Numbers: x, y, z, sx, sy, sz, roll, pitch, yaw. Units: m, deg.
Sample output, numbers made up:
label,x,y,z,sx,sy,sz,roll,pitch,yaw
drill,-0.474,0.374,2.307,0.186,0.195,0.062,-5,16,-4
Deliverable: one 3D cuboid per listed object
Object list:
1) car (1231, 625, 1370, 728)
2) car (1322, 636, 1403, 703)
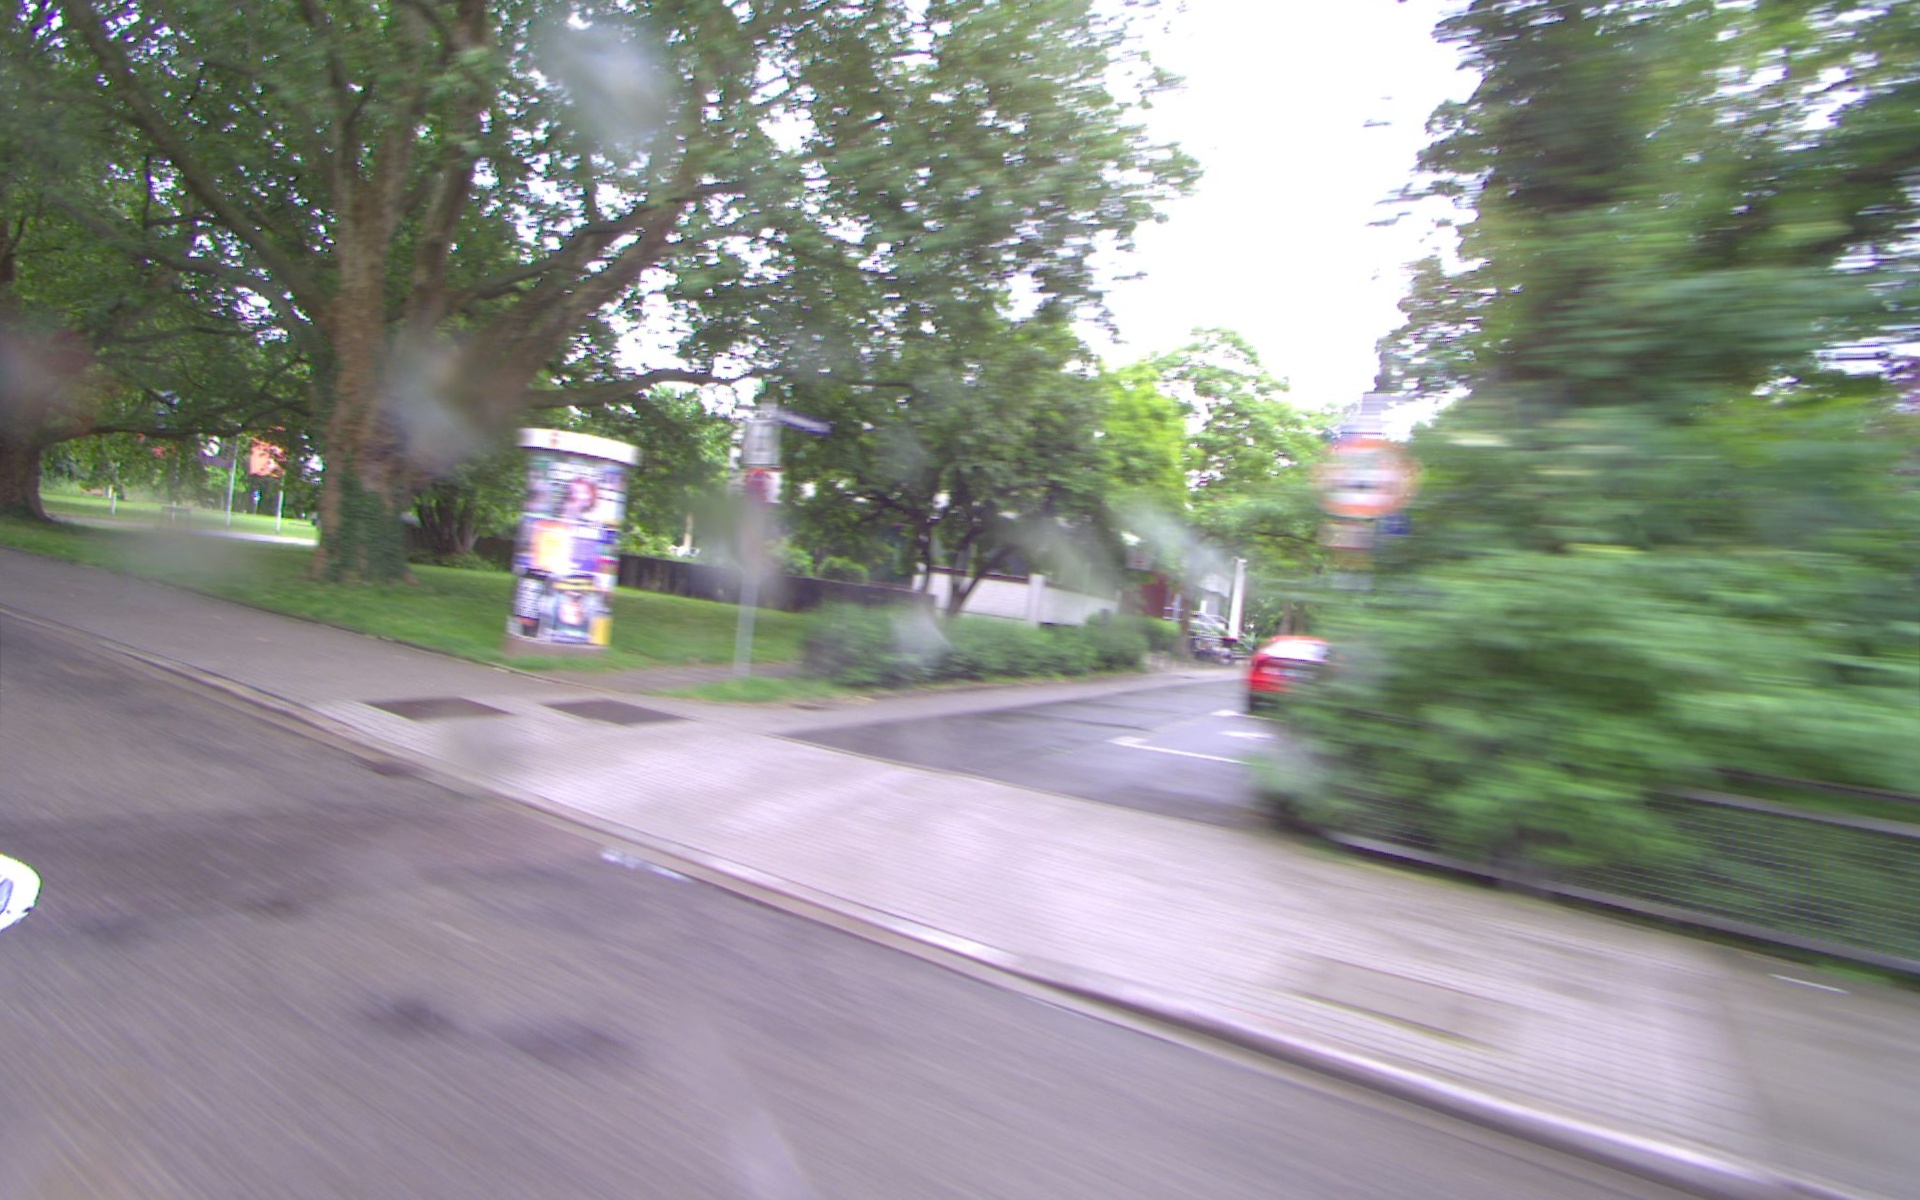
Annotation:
label,x,y,z,sx,sy,sz,roll,pitch,yaw
car,6.351,1.331,18.490,1.843,1.500,3.995,6,0,26
car,11.642,1.955,28.965,1.705,1.591,3.928,7,1,26
